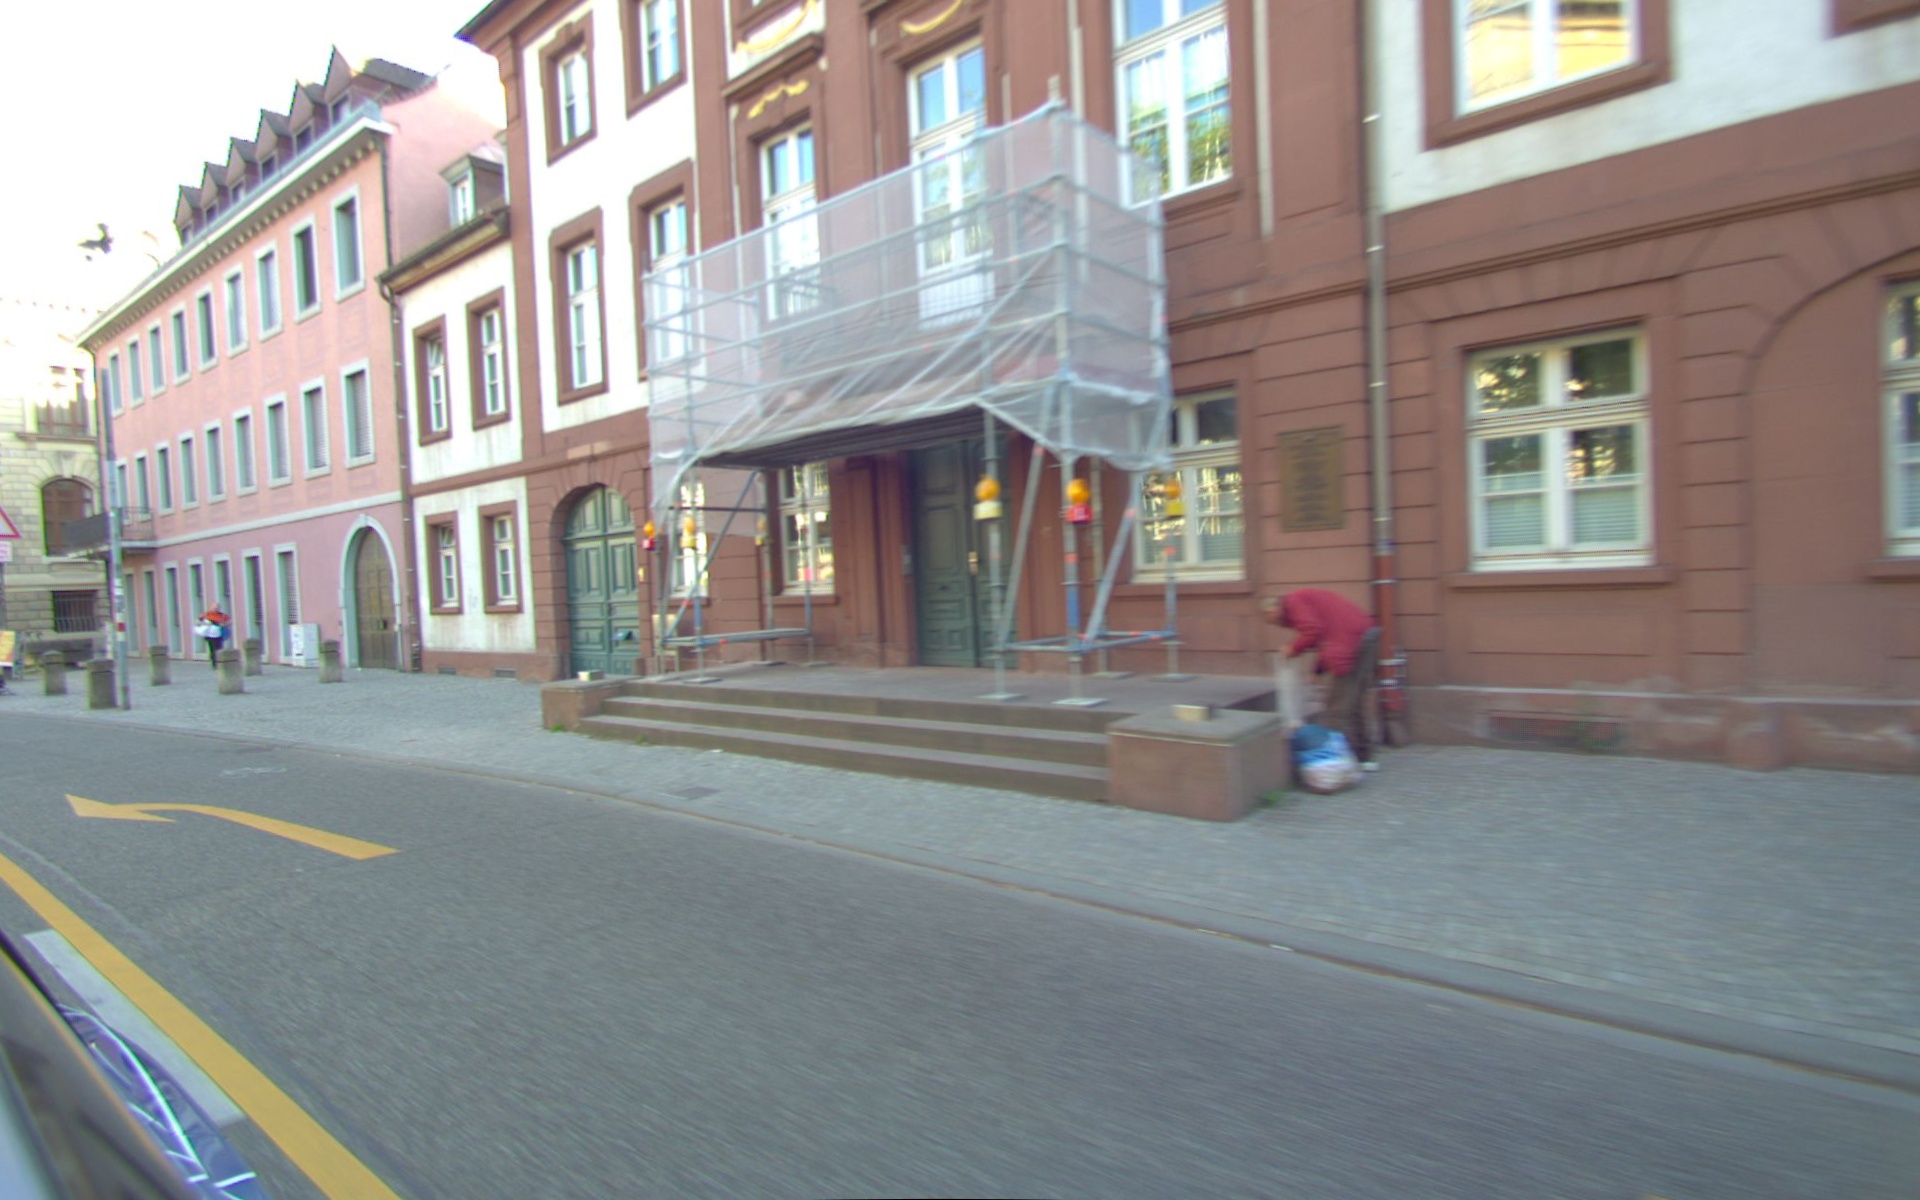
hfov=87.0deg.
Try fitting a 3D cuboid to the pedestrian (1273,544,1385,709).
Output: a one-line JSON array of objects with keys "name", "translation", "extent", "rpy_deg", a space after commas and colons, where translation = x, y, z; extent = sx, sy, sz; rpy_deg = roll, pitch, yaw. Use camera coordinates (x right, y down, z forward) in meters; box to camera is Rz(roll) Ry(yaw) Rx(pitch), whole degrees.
[{"name": "pedestrian", "translation": [2.530, 0.167, 6.931], "extent": [0.550, 1.060, 0.532], "rpy_deg": [-2, 2, 37]}]

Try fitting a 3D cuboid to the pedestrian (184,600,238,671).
[{"name": "pedestrian", "translation": [-18.902, 0.878, 25.538], "extent": [0.868, 1.701, 0.784], "rpy_deg": [-2, 3, 38]}]
